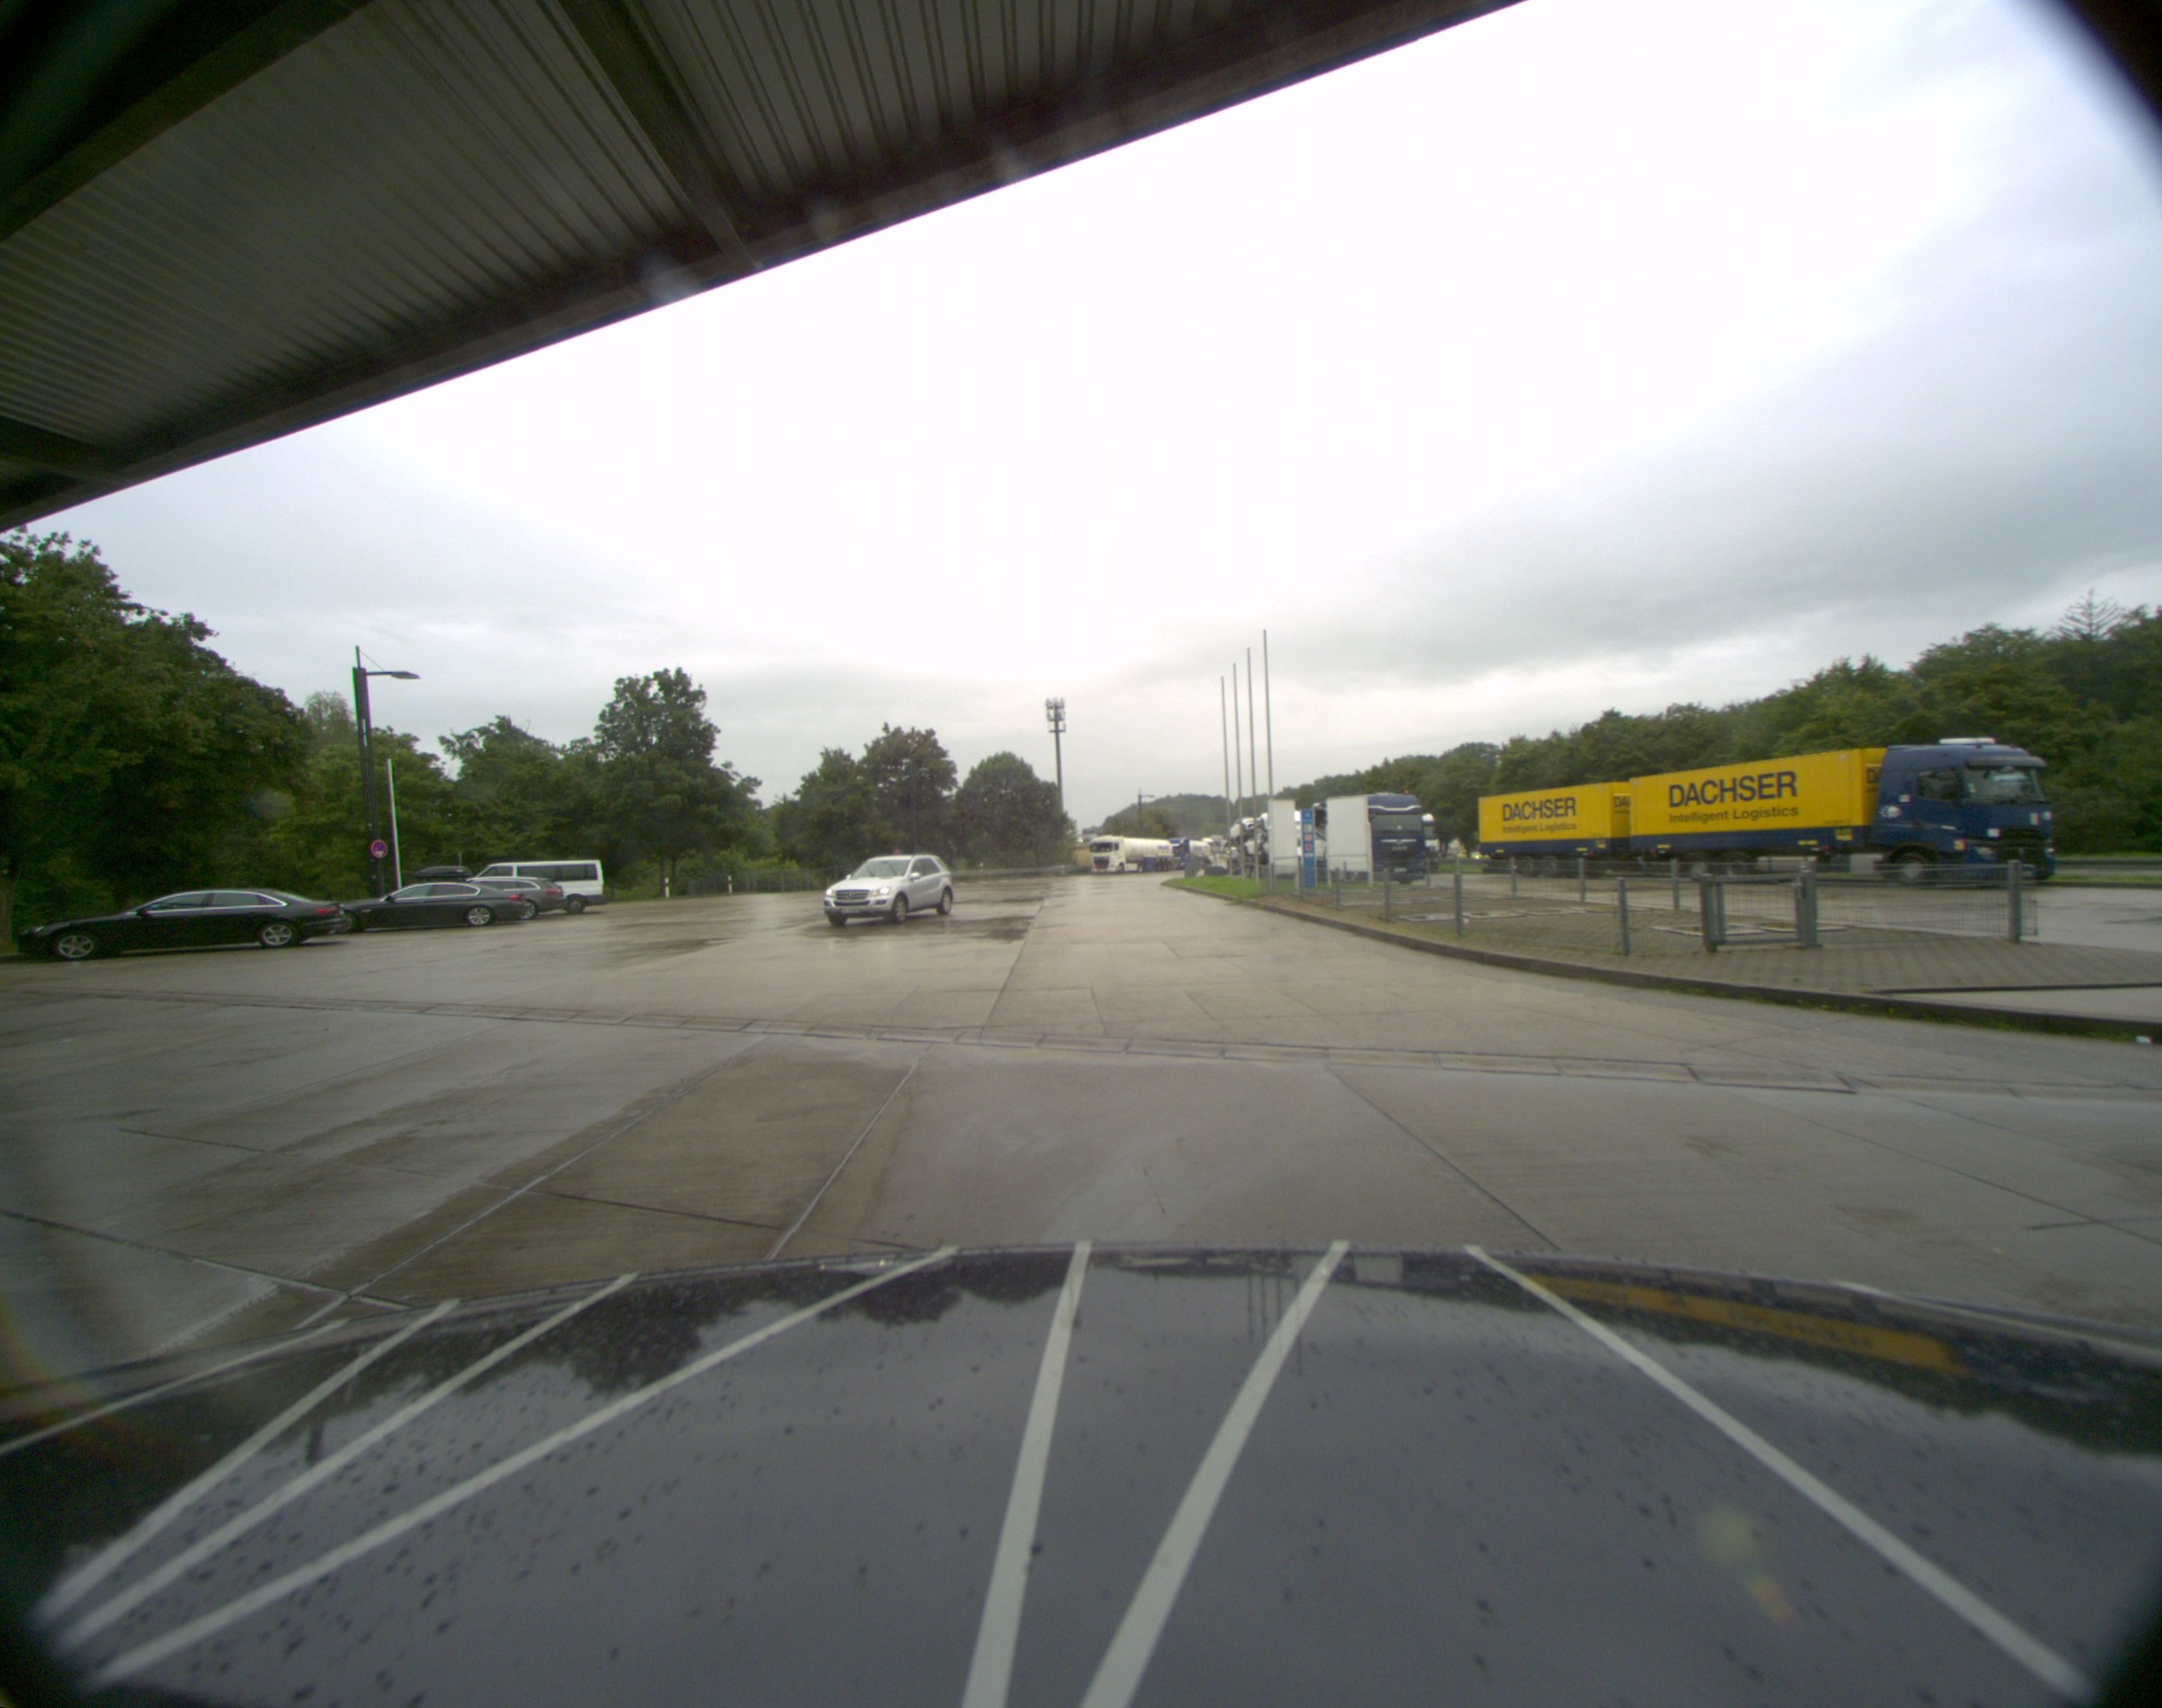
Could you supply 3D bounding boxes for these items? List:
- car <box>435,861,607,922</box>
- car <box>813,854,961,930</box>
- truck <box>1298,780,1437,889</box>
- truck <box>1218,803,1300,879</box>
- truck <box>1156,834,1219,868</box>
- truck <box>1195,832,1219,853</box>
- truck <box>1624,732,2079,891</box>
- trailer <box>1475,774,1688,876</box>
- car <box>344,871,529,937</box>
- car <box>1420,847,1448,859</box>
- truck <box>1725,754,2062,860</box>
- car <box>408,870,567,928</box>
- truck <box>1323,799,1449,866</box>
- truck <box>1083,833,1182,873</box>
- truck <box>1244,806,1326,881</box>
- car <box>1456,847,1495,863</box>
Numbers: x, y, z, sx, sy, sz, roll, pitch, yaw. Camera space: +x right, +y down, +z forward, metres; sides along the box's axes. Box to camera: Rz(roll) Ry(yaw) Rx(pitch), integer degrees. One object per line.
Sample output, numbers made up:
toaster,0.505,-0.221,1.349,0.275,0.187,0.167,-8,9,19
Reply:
car,-20.424,1.290,27.989,4.898,1.938,2.310,-2,0,-35
car,-5.005,0.924,20.363,1.864,1.787,4.544,-2,0,14
truck,12.187,-0.790,33.175,2.665,4.157,7.103,-2,0,-6
truck,10.574,-0.721,45.773,2.665,4.157,6.618,-2,1,-6
truck,12.784,-0.396,89.684,3.506,3.584,14.686,-2,0,23
truck,32.069,-2.882,193.635,3.145,5.092,11.515,-2,1,-5
truck,23.157,-1.121,24.321,2.757,3.894,10.678,-2,1,-8
trailer,21.795,-1.177,33.942,2.757,3.894,8.700,-2,1,-9
car,-18.873,1.396,22.501,4.007,1.650,1.596,-2,0,-35
car,53.911,-0.171,116.142,1.704,1.684,3.995,-2,1,-13
truck,33.914,-1.752,32.708,2.421,3.785,10.223,-2,1,-10
car,-19.468,1.429,25.153,4.007,1.650,1.596,-2,0,-35
truck,19.886,-1.292,50.563,2.757,3.894,10.678,-2,1,-8
truck,5.456,-0.155,75.203,3.505,3.584,14.426,-2,0,31
truck,11.050,-0.552,41.582,2.665,3.750,4.747,-2,1,-6
car,46.502,0.067,89.623,1.891,1.748,3.994,-2,1,-16
